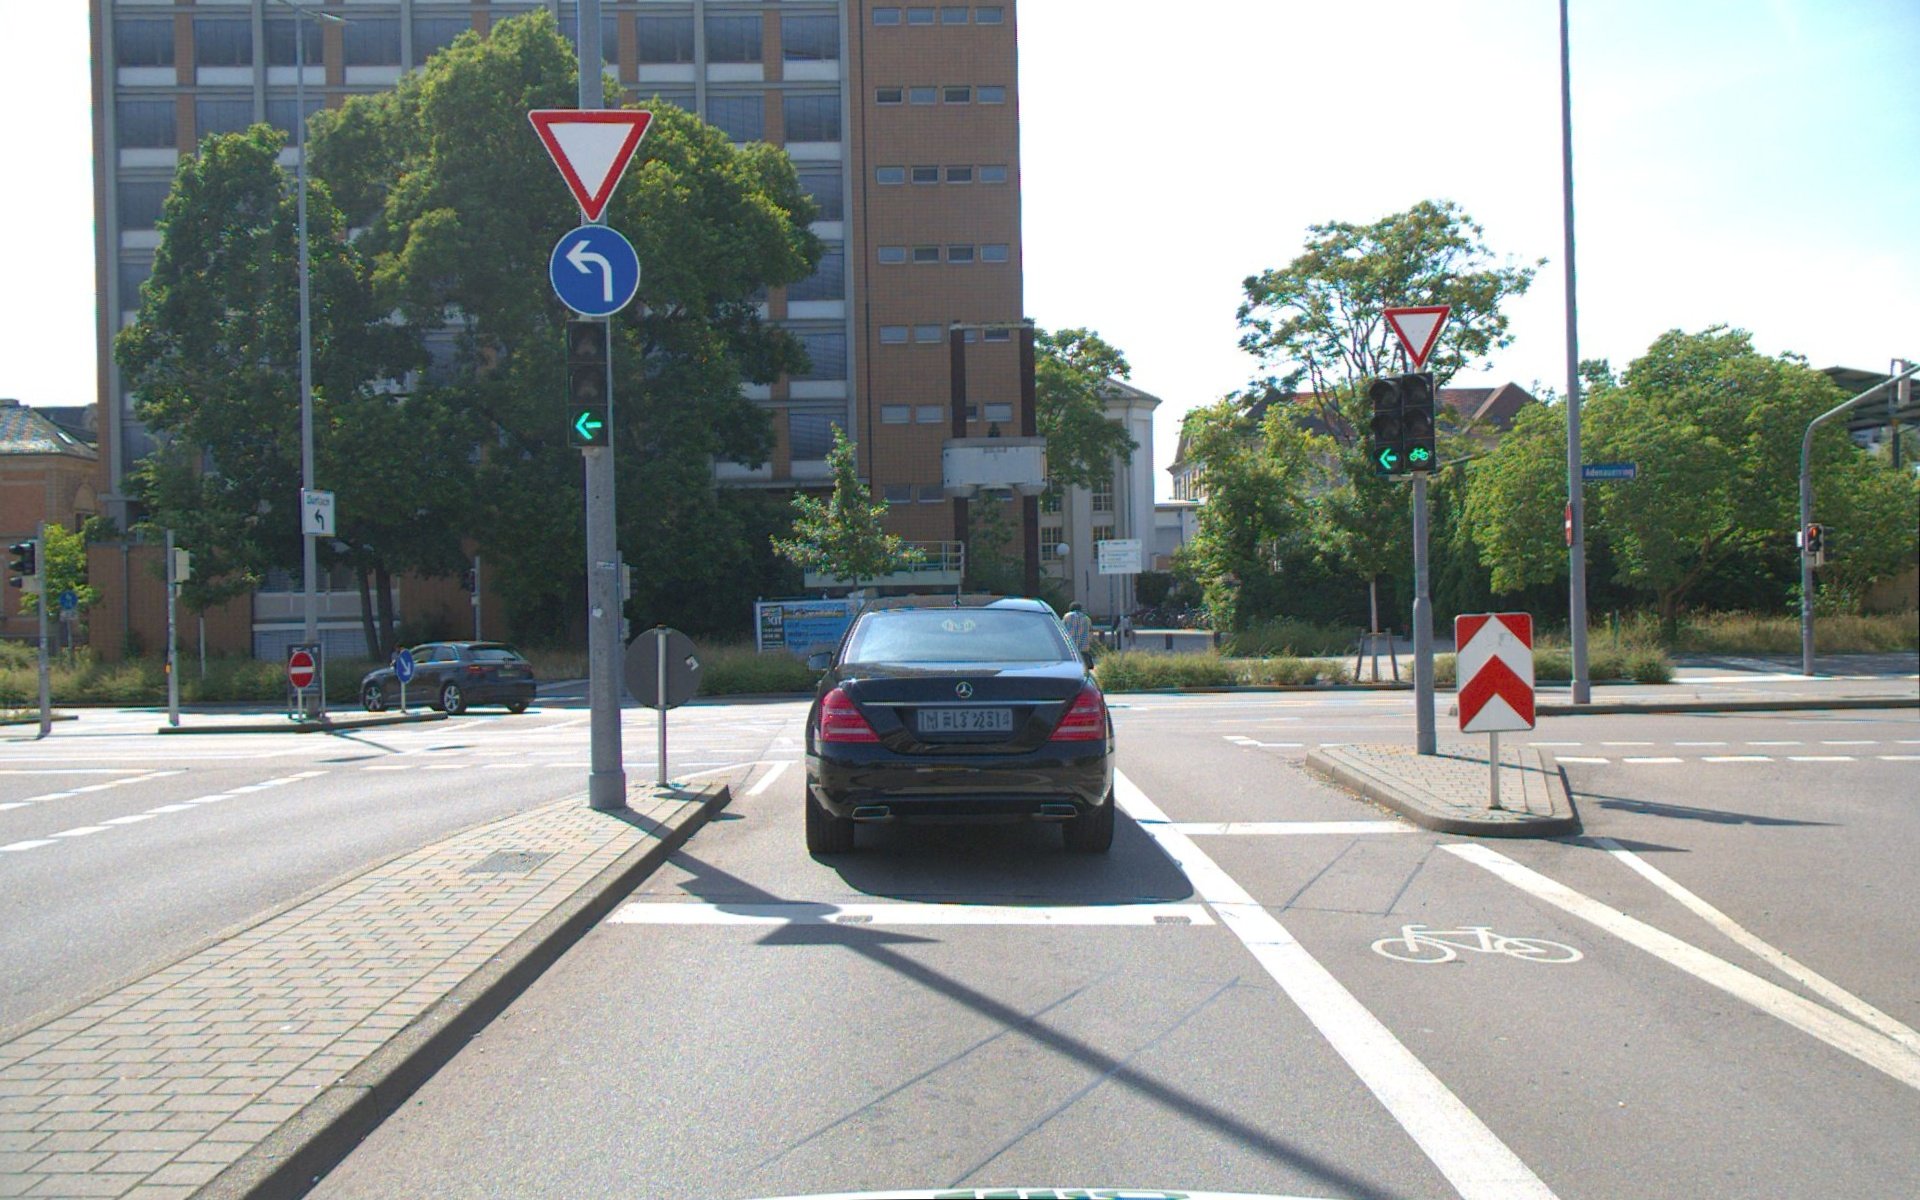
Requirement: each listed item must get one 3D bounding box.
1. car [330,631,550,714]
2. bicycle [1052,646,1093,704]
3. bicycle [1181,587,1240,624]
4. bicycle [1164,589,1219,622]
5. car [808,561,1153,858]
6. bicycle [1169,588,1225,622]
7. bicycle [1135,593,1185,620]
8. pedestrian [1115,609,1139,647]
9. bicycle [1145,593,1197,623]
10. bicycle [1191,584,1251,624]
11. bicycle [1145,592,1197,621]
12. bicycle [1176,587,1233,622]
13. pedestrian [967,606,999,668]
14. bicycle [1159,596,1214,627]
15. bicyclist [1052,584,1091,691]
[{"bbox_3d":[-10.338,1.435,32.925,3.905,1.537,1.800,-2,-2,21],"label":"car"},{"bbox_3d":[2.014,1.336,29.871,0.678,0.963,1.959,1,0,3],"label":"bicycle"},{"bbox_3d":[12.720,0.255,84.032,2.766,1.775,0.841,-2,0,-2],"label":"bicycle"},{"bbox_3d":[12.252,0.280,87.550,2.766,1.615,0.841,-2,0,-2],"label":"bicycle"},{"bbox_3d":[-0.019,0.597,11.086,1.822,1.557,4.710,0,0,-3],"label":"car"},{"bbox_3d":[12.377,0.253,86.559,2.766,1.688,0.841,-2,1,-2],"label":"bicycle"},{"bbox_3d":[11.689,0.373,96.672,2.766,1.506,0.841,-2,0,-2],"label":"bicycle"},{"bbox_3d":[5.457,0.910,54.002,0.776,1.235,0.758,1,-1,6],"label":"pedestrian"},{"bbox_3d":[11.787,0.444,92.592,2.766,1.586,0.841,-2,0,-2],"label":"bicycle"},{"bbox_3d":[12.882,0.216,81.776,2.766,1.868,0.841,-2,0,-2],"label":"bicycle"},{"bbox_3d":[12.086,0.382,94.784,2.766,1.526,0.841,-2,0,-2],"label":"bicycle"},{"bbox_3d":[12.590,0.236,85.119,2.766,1.678,0.841,-2,0,-2],"label":"bicycle"},{"bbox_3d":[0.618,0.970,43.799,0.794,1.607,0.692,-2,-1,1],"label":"pedestrian"},{"bbox_3d":[12.119,0.626,88.626,2.766,1.564,0.841,-2,0,-2],"label":"bicycle"},{"bbox_3d":[2.015,0.670,29.967,0.671,1.911,0.860,0,-1,2],"label":"bicyclist"}]
